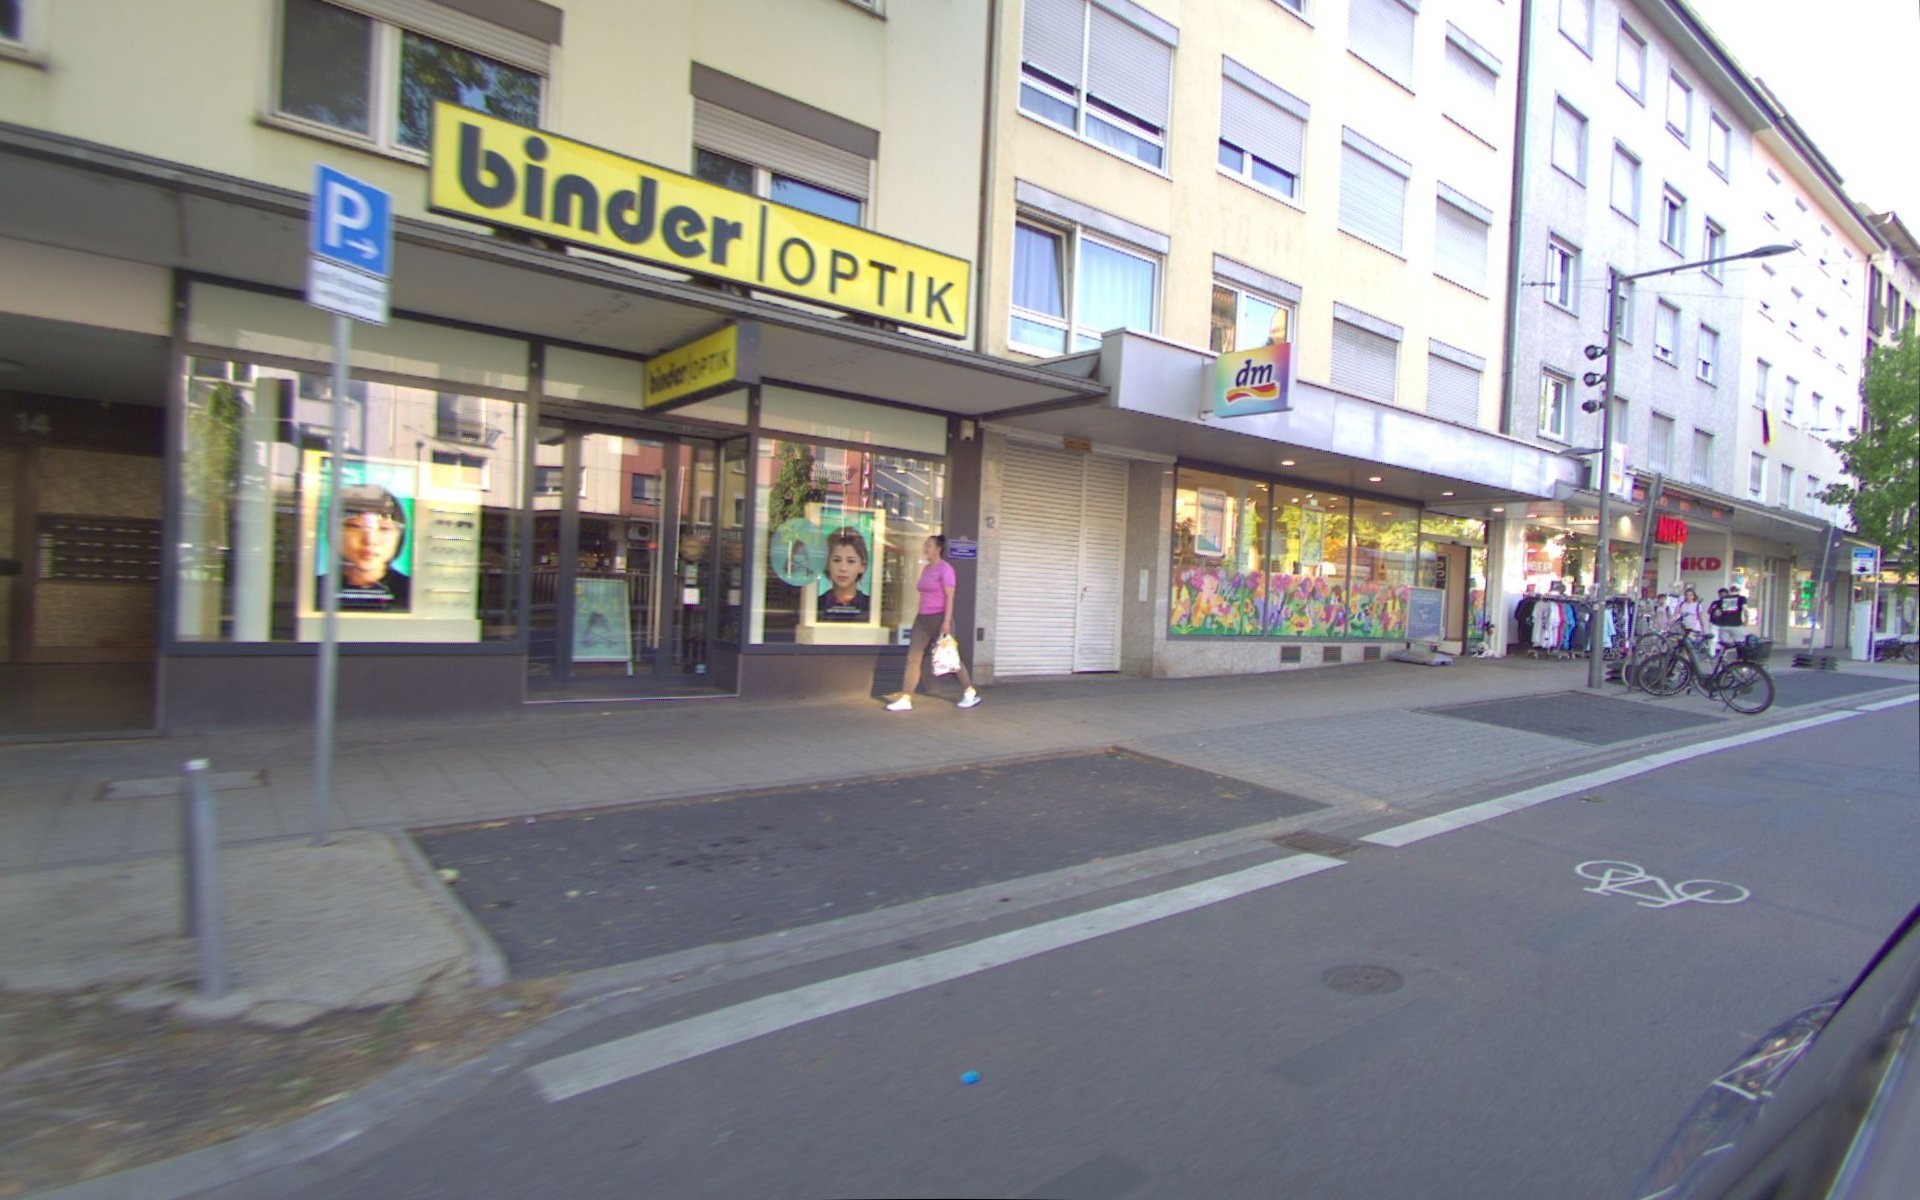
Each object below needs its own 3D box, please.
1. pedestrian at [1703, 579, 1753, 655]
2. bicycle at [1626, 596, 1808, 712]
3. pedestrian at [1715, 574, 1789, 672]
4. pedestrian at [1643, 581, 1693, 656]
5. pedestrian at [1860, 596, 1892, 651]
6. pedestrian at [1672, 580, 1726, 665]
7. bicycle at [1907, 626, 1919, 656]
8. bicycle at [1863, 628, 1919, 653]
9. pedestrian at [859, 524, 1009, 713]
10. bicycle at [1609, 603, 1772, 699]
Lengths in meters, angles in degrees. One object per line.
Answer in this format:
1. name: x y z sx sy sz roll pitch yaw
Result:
1. pedestrian: 17.935 0.389 23.629 1.050 1.695 0.570 1 3 -38
2. bicycle: 10.551 0.720 14.193 0.679 1.327 1.798 2 6 -26
3. pedestrian: 15.618 0.449 19.953 0.913 1.821 0.776 2 4 -36
4. pedestrian: 14.977 0.395 21.400 0.879 1.520 0.542 2 2 -38
5. pedestrian: 27.399 0.702 30.260 0.636 1.586 0.491 1 3 -36
6. pedestrian: 14.913 0.443 20.414 0.879 1.648 0.547 2 2 -38
7. bicycle: 26.958 1.181 27.424 1.747 0.788 0.695 4 2 30
8. bicycle: 26.207 1.130 28.450 0.832 0.579 1.742 4 2 29
9. pedestrian: -0.271 0.145 10.244 1.112 1.784 0.971 0 3 -37
10. bicycle: 10.955 0.741 15.249 1.776 1.137 0.659 7 5 26
